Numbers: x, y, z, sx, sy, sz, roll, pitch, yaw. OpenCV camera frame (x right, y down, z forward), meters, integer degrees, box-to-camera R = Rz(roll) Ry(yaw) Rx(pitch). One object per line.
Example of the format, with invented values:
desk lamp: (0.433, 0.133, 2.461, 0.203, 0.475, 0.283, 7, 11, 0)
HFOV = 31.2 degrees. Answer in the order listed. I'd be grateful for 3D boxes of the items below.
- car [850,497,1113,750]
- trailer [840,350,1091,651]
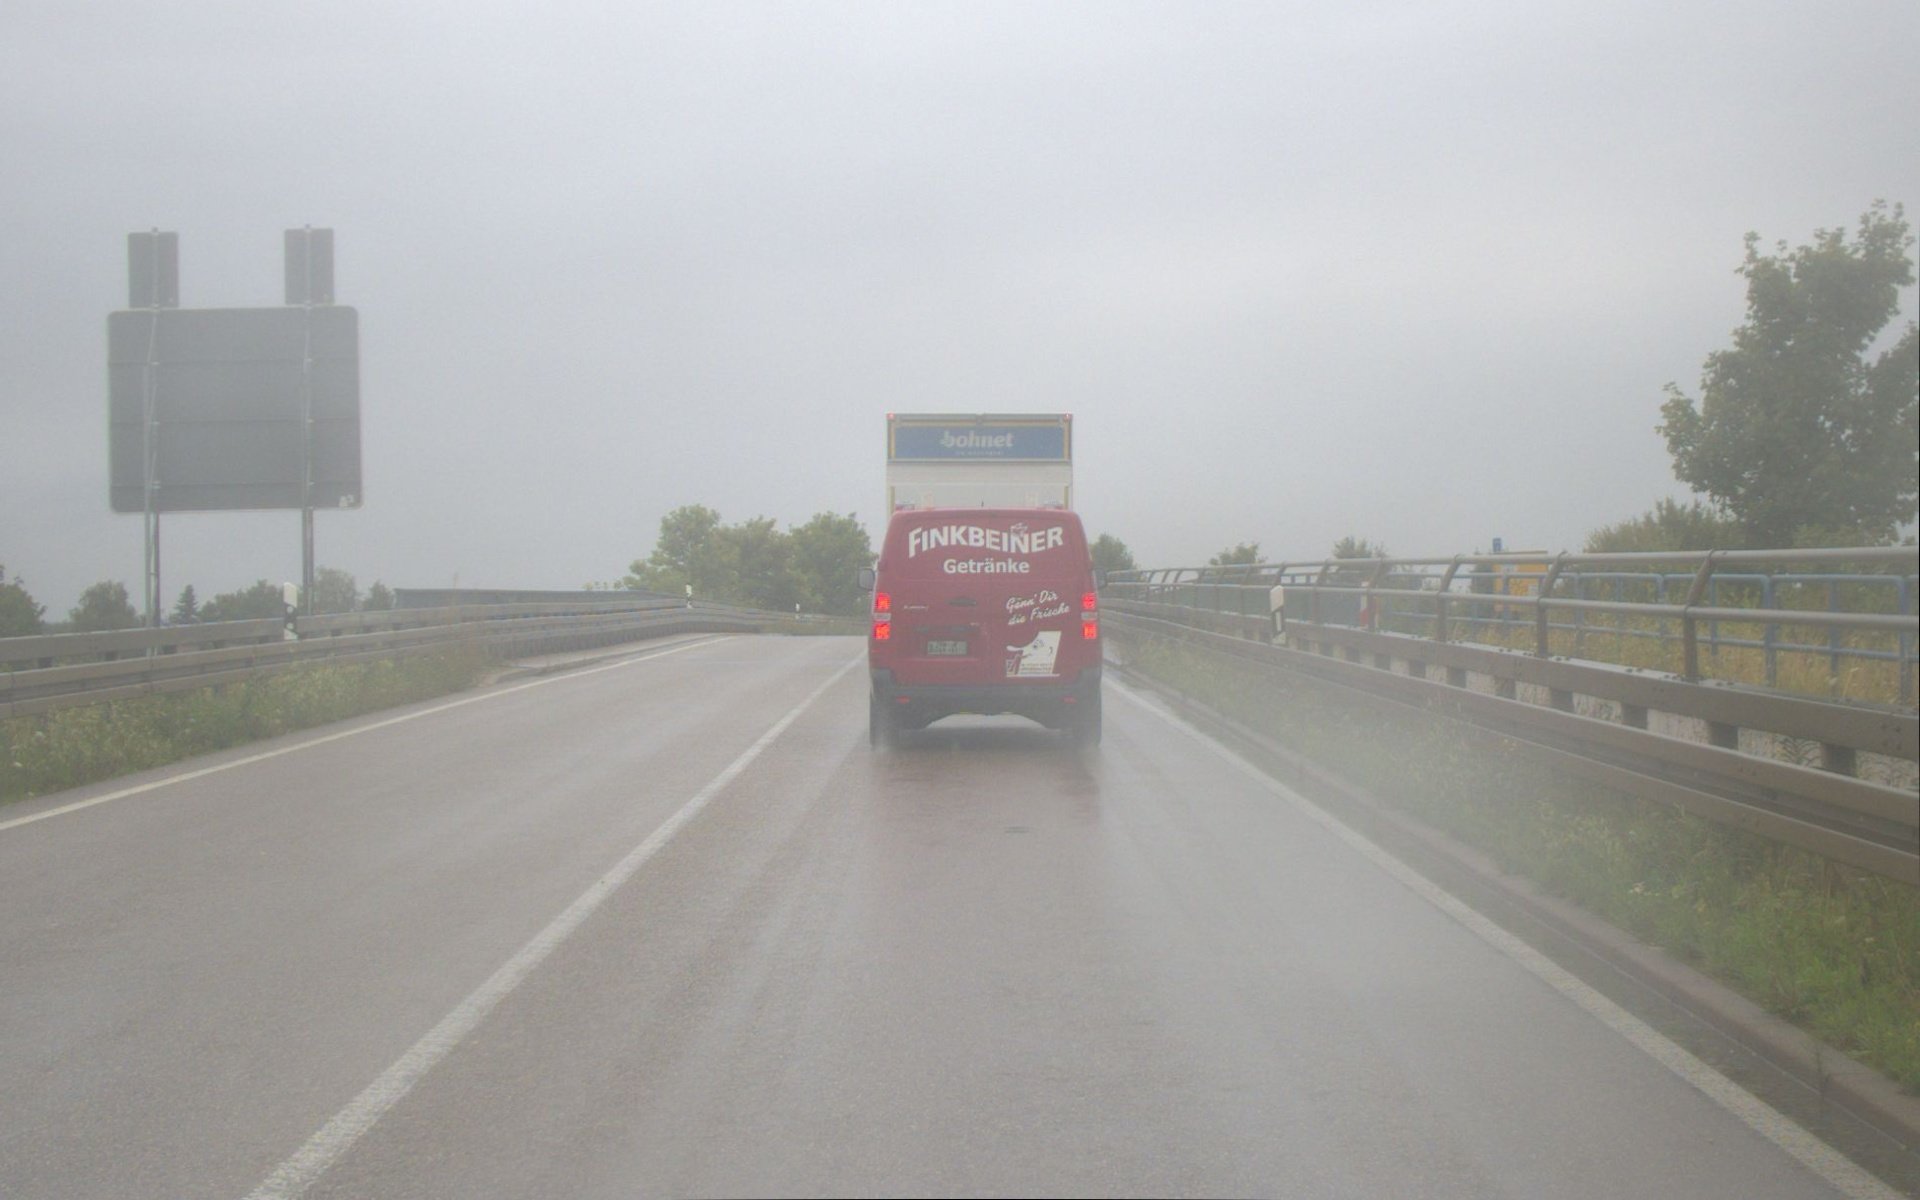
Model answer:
car: (0.137, 0.148, 28.472, 1.993, 1.919, 4.144, 1, 1, -1)
trailer: (0.191, -1.321, 50.549, 3.201, 3.908, 8.739, 3, 0, 2)
